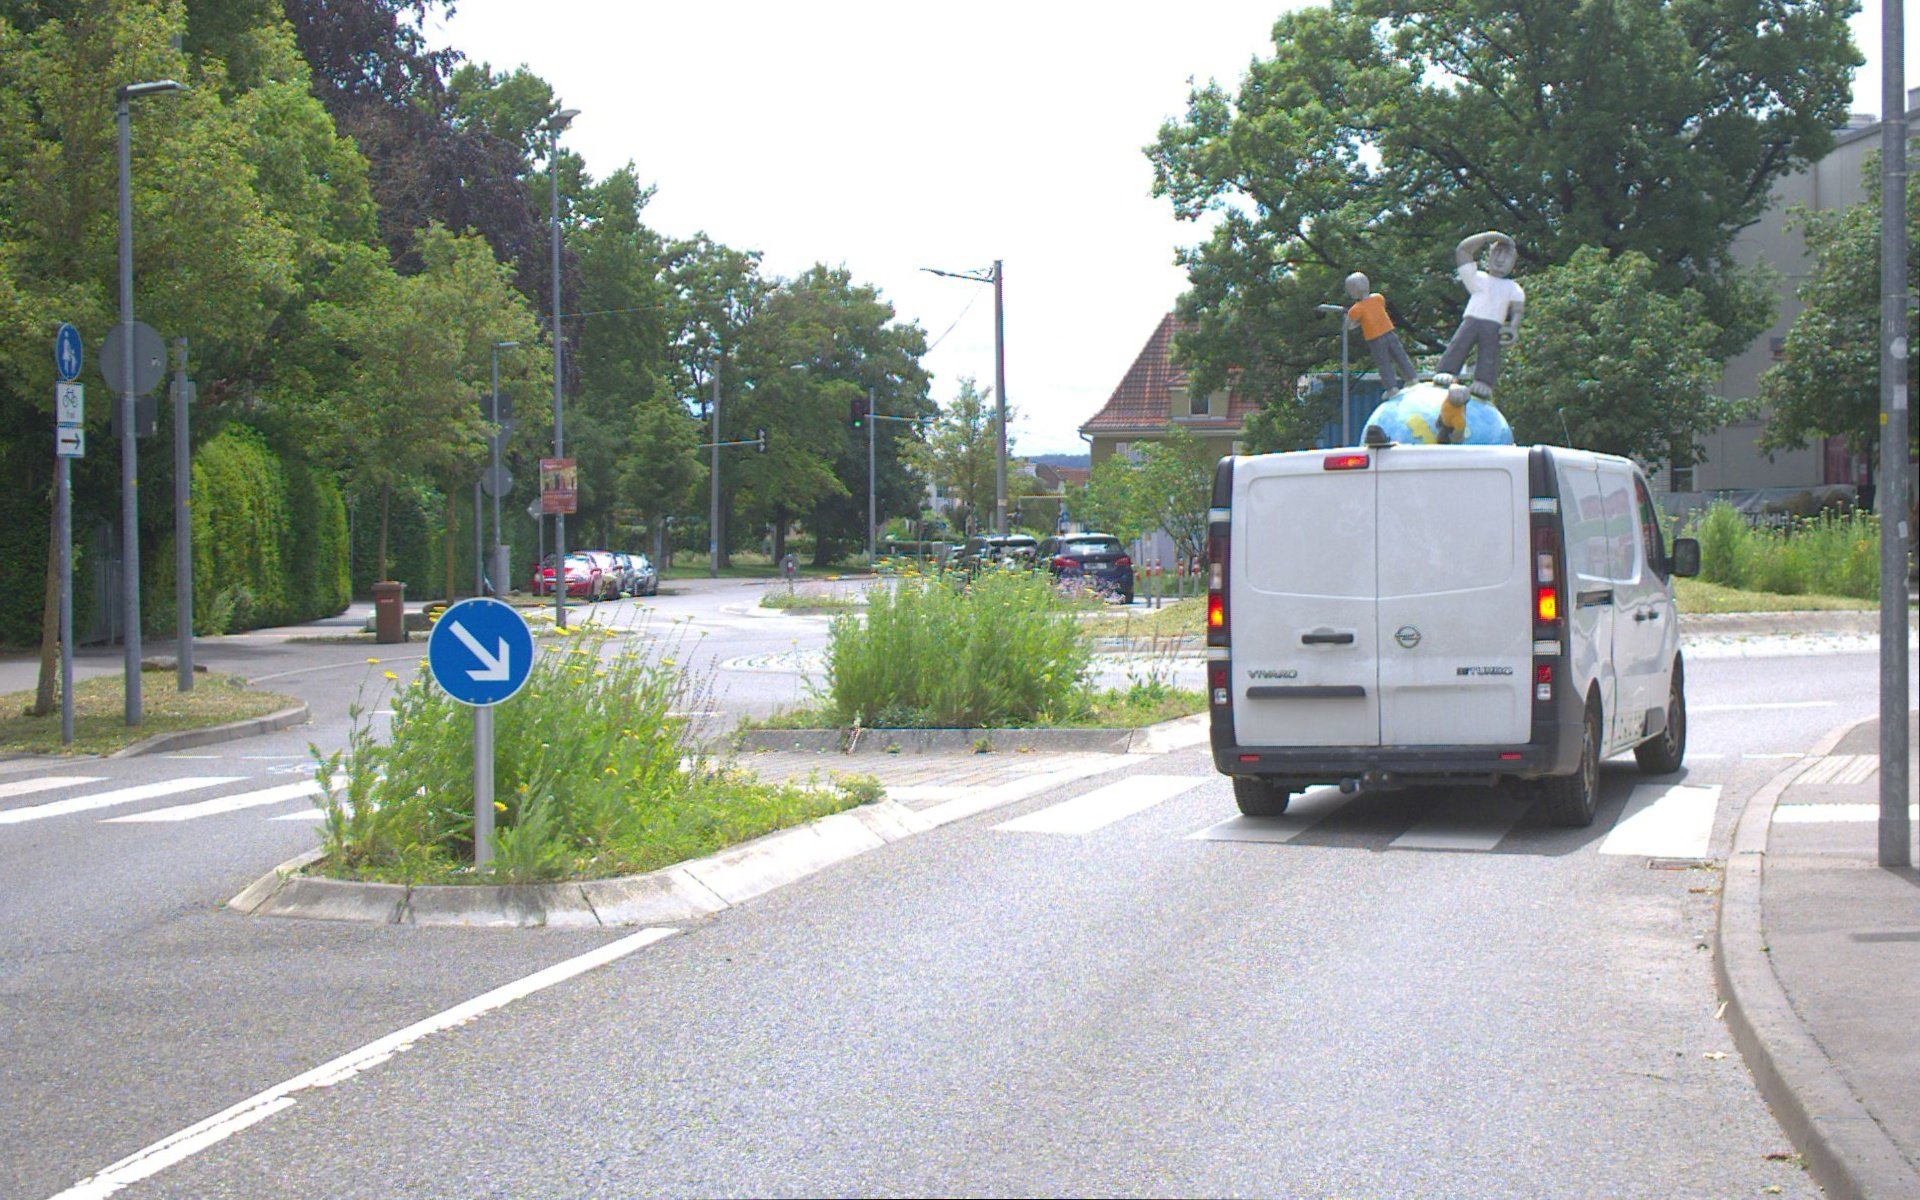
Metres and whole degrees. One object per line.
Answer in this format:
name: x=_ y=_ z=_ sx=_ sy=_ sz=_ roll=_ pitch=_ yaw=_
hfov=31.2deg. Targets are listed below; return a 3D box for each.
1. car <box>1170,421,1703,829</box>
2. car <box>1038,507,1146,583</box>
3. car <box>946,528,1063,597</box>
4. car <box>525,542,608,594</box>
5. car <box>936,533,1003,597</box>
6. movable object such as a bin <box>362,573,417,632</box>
car: x=2.824 y=0.050 z=19.251 sx=2.036 sy=1.938 sz=4.989 roll=2 pitch=2 yaw=18
car: x=2.795 y=-1.201 z=73.410 sx=1.932 sy=1.532 sz=3.926 roll=0 pitch=2 yaw=-3
car: x=1.031 y=-0.901 z=81.178 sx=1.919 sy=1.495 sz=3.926 roll=-1 pitch=2 yaw=-12
car: x=-11.397 y=-0.939 z=99.450 sx=2.062 sy=1.381 sz=4.049 roll=-1 pitch=2 yaw=-11
car: x=0.272 y=-1.030 z=99.514 sx=1.897 sy=1.738 sz=3.925 roll=0 pitch=2 yaw=0
movable object such as a bin: x=-8.642 y=0.036 z=52.083 sx=0.630 sy=0.860 sz=0.640 roll=-2 pitch=1 yaw=9
